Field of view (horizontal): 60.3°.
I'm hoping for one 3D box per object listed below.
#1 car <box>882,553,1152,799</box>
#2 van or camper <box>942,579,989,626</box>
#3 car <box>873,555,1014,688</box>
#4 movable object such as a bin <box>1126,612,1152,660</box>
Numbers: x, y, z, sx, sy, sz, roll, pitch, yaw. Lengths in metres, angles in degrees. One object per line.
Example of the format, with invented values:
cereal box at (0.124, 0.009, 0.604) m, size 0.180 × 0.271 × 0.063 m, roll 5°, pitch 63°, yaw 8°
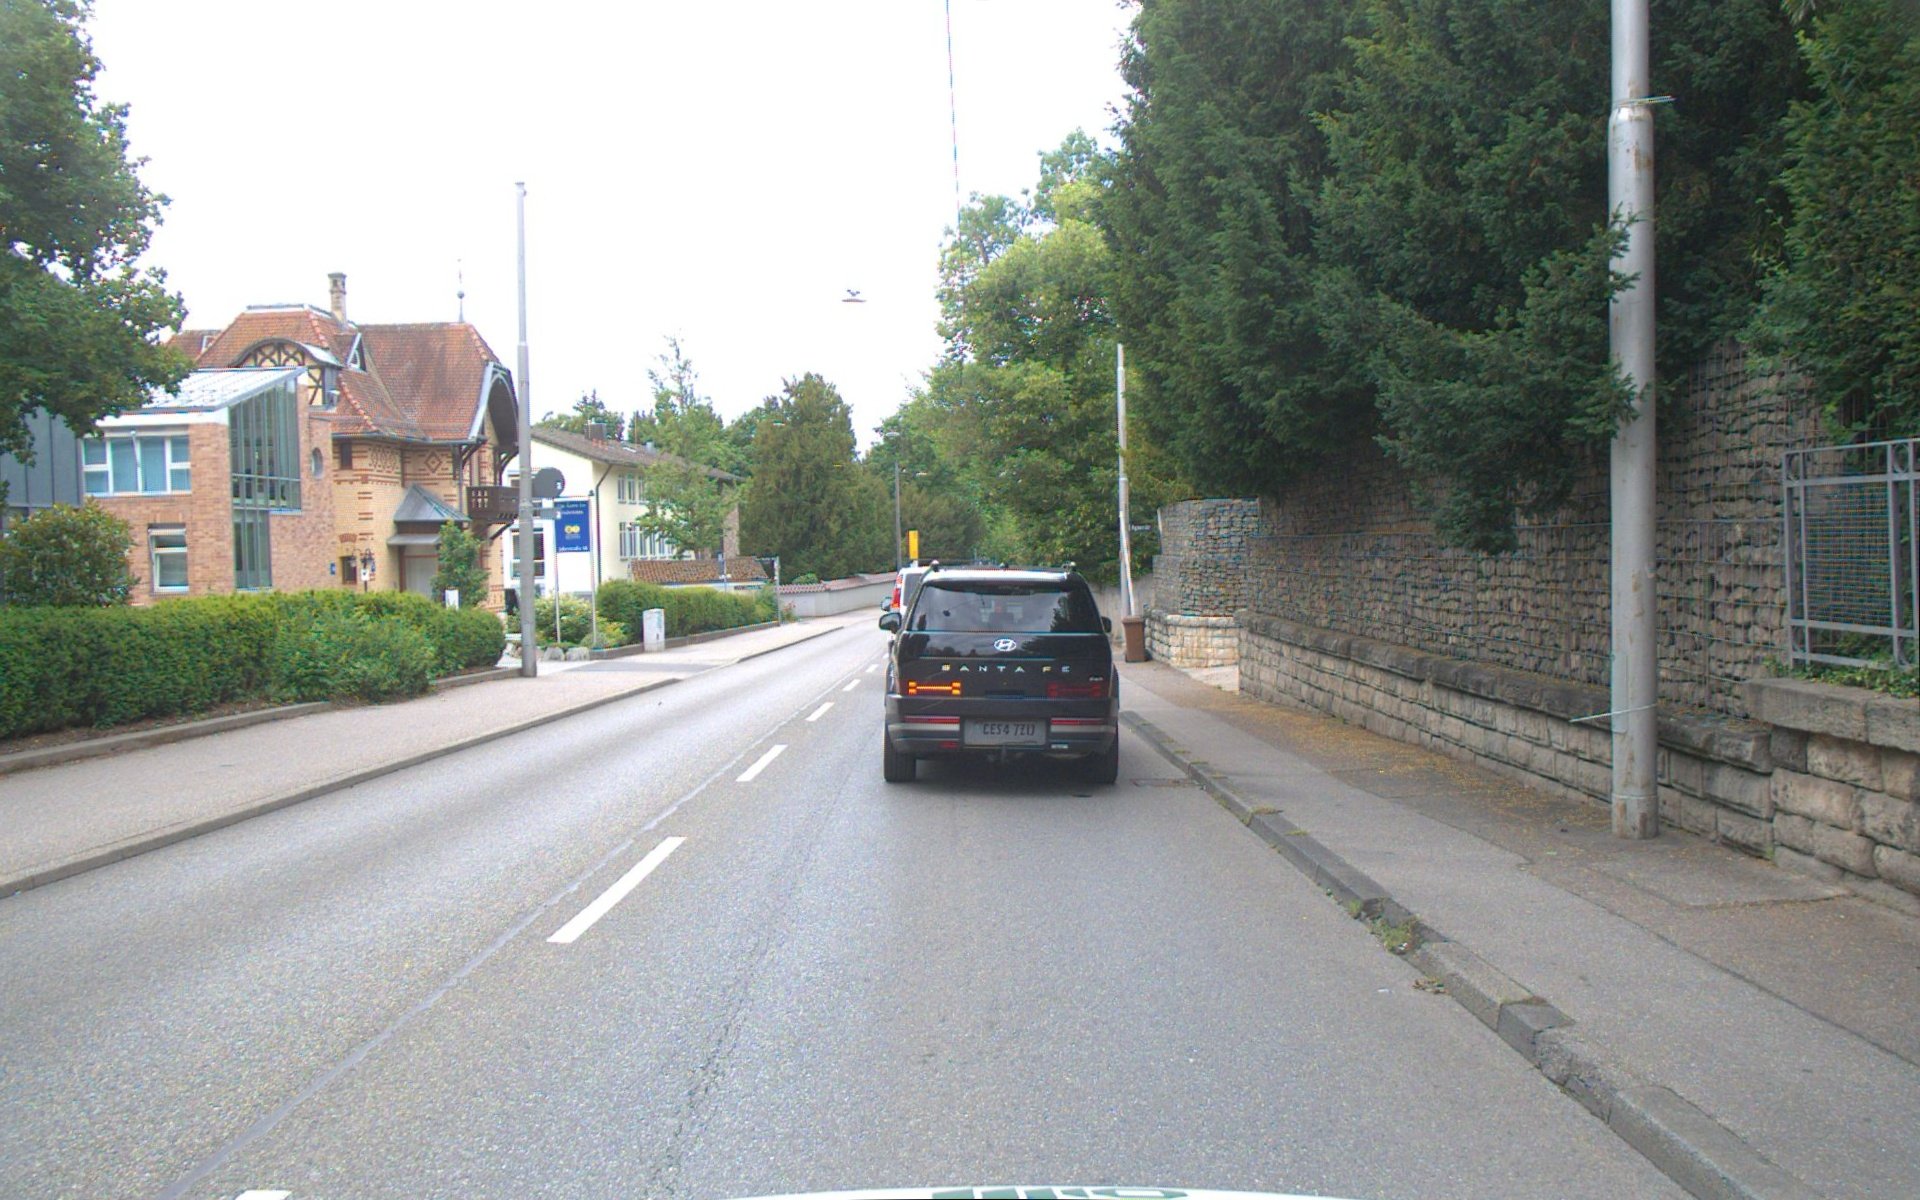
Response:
car at (0.426, 0.529, 14.128) m, size 1.917 × 1.742 × 4.223 m, roll 1°, pitch 1°, yaw 0°
van or camper at (0.277, 0.080, 77.799) m, size 1.640 × 2.042 × 3.942 m, roll -1°, pitch 2°, yaw 8°
car at (-0.359, 0.327, 27.418) m, size 1.919 × 1.990 × 4.218 m, roll 1°, pitch 0°, yaw -6°
movable object such as a bin at (3.571, 0.714, 33.015) m, size 0.435 × 0.925 × 0.394 m, roll -4°, pitch 0°, yaw 9°
